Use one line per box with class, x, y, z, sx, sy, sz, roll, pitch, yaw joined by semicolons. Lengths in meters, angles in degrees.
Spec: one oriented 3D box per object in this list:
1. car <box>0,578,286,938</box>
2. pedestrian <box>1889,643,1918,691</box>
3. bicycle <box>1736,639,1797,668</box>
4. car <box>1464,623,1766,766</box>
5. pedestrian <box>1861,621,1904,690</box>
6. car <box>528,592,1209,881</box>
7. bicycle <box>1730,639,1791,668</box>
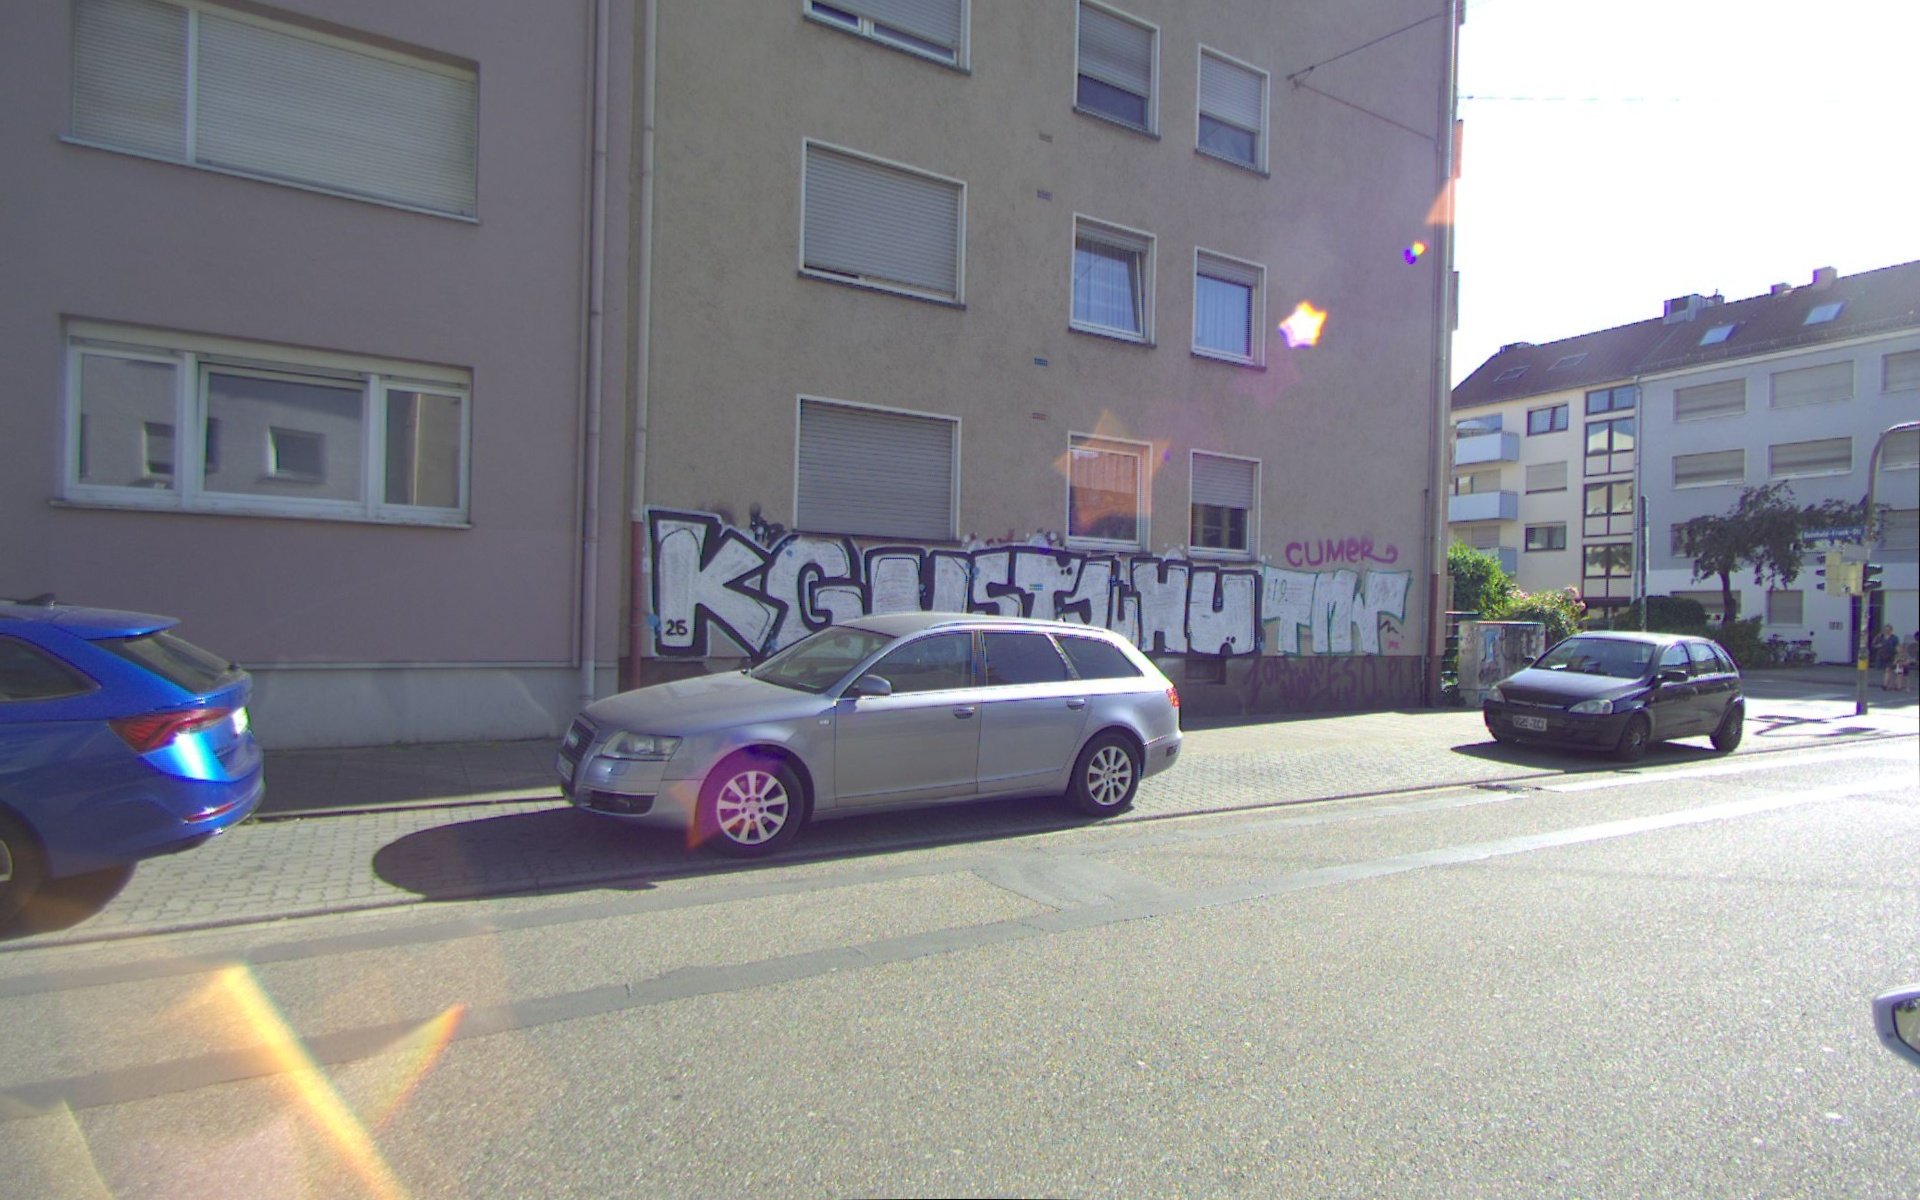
car;-5.874;0.650;4.382;4.747;1.523;1.813;1;2;-32
pedestrian;23.411;1.660;24.913;0.525;1.161;0.384;1;0;-30
bicycle;27.964;1.841;34.834;0.506;0.952;1.583;1;-1;-27
car;8.283;1.089;12.644;3.813;1.468;1.682;1;2;-32
pedestrian;23.446;1.398;25.531;0.958;1.705;0.570;1;0;-32
car;-0.530;0.796;7.507;4.747;1.523;1.813;1;2;-32
bicycle;27.499;1.824;34.514;0.506;0.952;1.583;1;-1;-27
